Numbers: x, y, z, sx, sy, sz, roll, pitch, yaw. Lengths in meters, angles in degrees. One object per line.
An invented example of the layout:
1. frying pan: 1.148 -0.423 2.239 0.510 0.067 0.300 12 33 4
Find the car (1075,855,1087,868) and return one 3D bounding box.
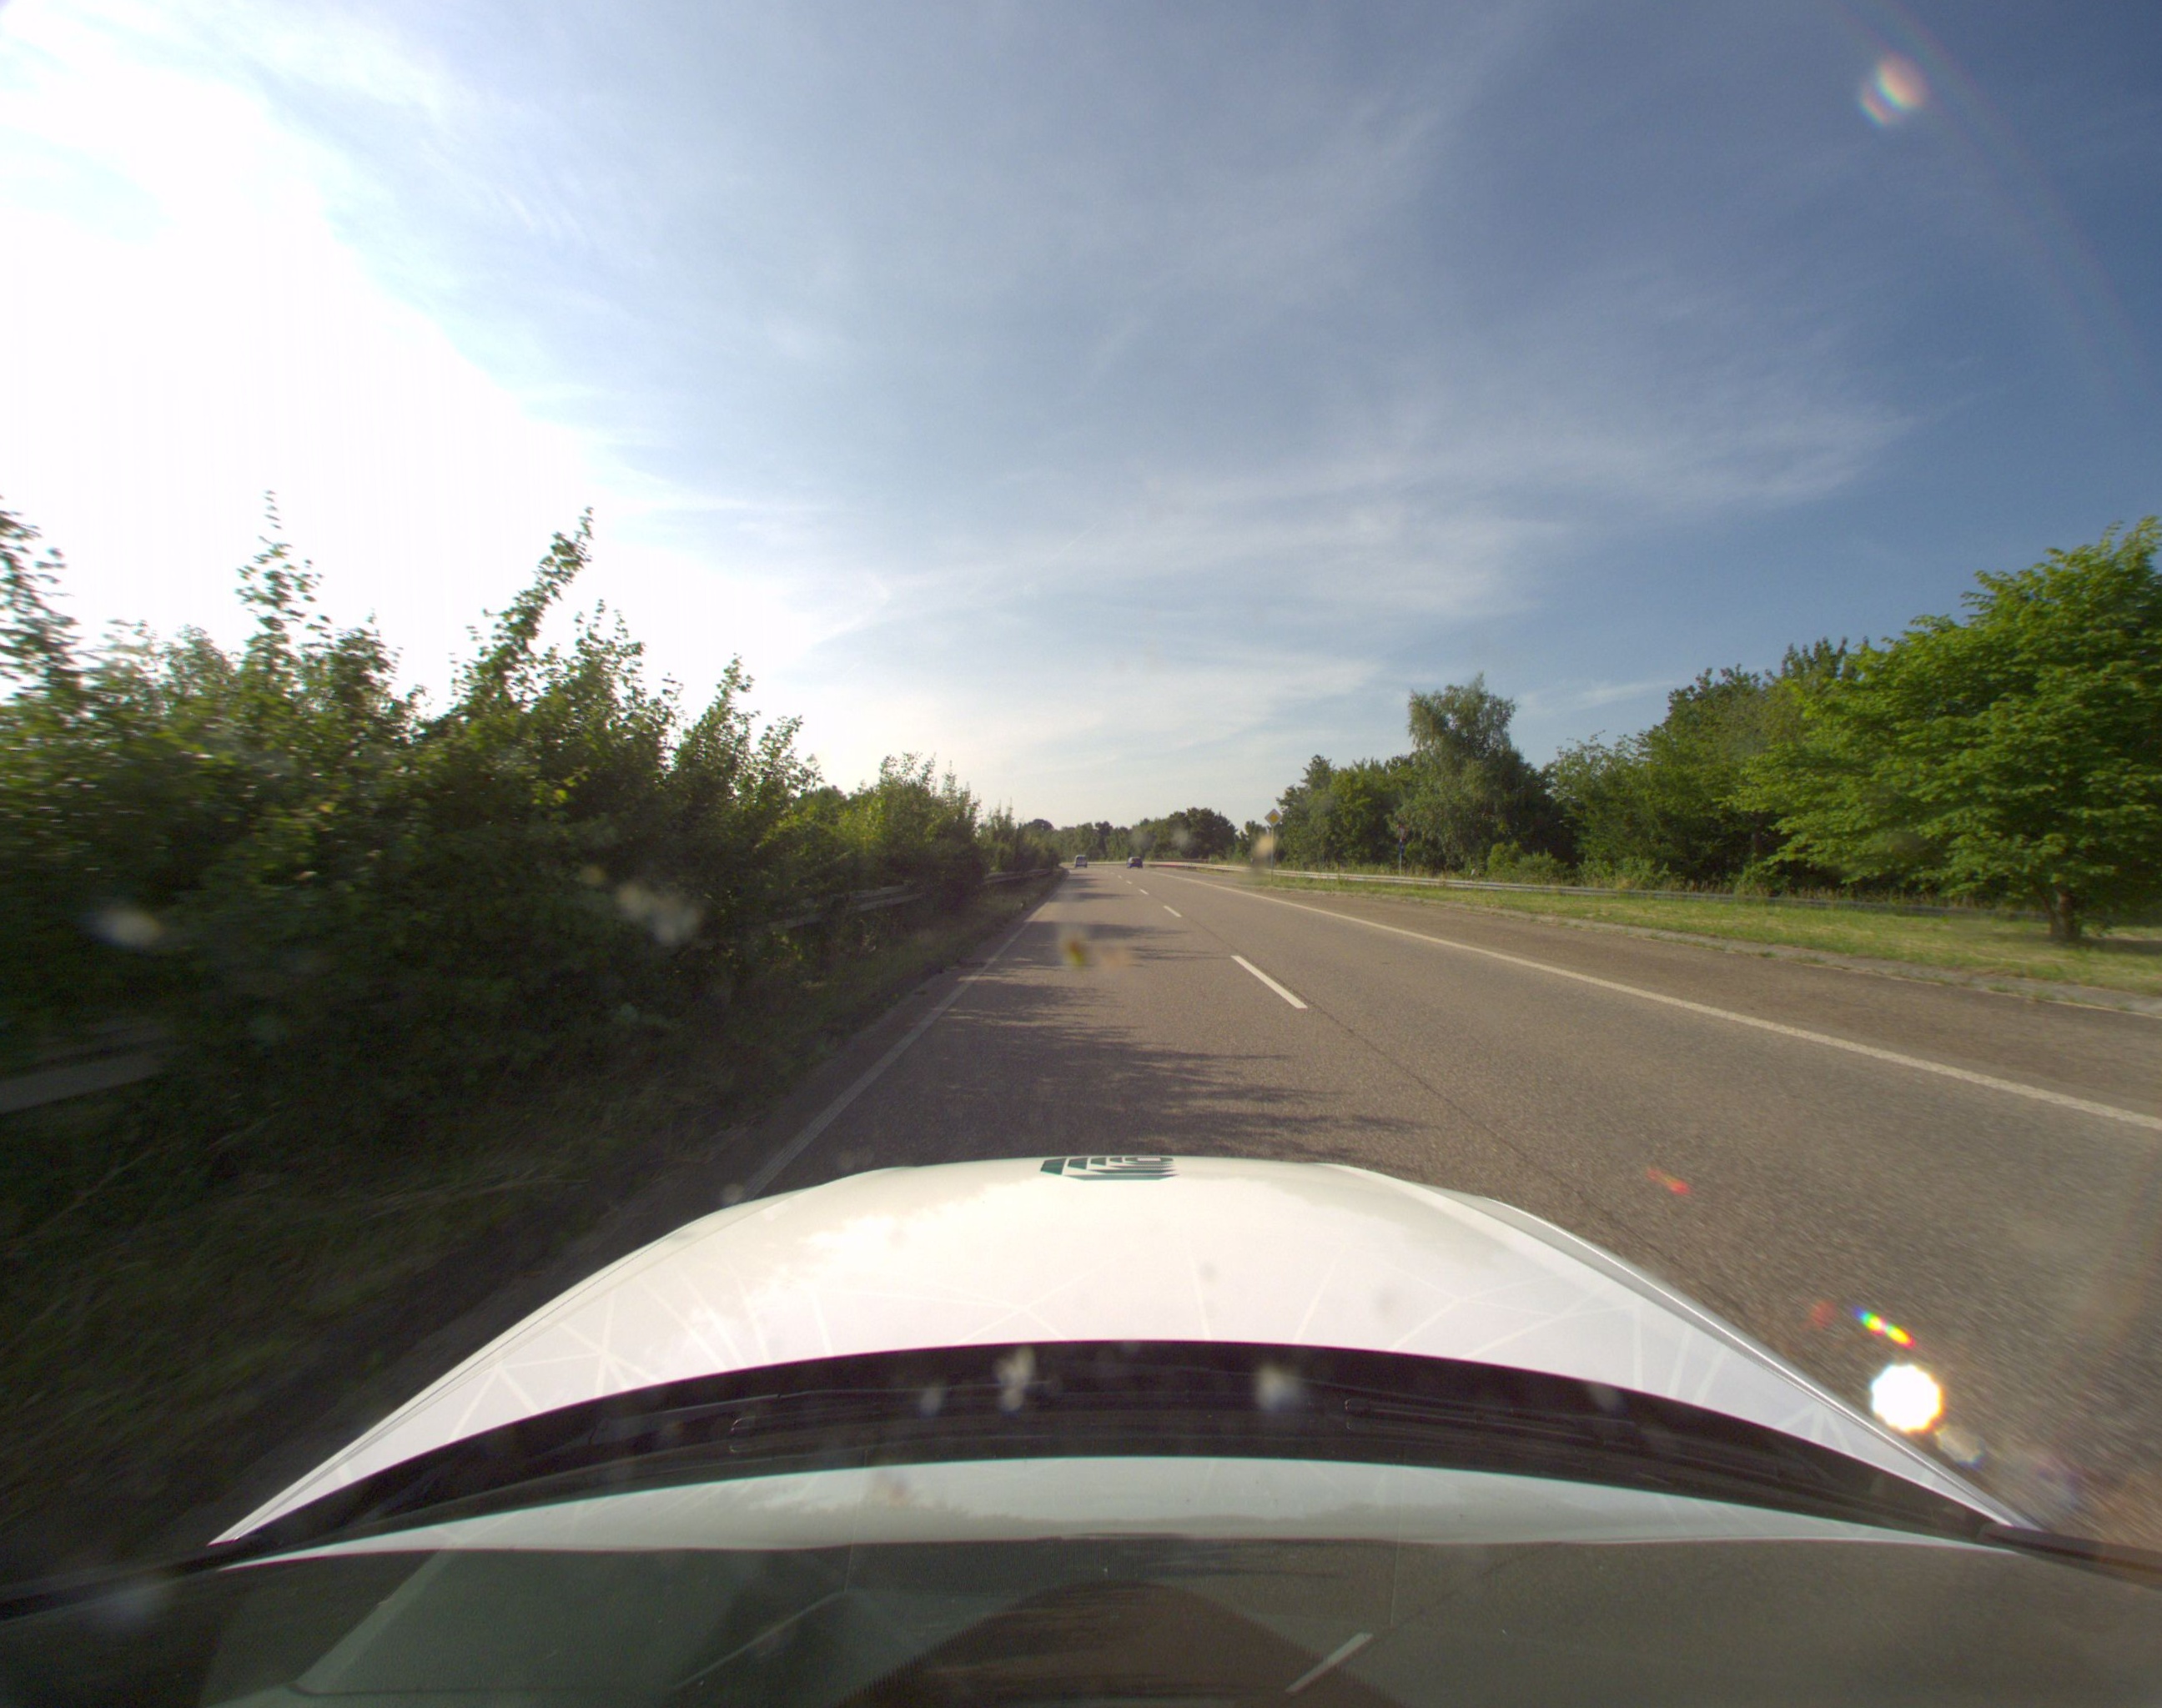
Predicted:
1. car: 0.033 1.124 117.890 1.760 1.882 3.999 -1 -1 0

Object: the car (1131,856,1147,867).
1. car: 7.552 1.013 106.951 1.773 1.452 3.998 -1 -1 0
